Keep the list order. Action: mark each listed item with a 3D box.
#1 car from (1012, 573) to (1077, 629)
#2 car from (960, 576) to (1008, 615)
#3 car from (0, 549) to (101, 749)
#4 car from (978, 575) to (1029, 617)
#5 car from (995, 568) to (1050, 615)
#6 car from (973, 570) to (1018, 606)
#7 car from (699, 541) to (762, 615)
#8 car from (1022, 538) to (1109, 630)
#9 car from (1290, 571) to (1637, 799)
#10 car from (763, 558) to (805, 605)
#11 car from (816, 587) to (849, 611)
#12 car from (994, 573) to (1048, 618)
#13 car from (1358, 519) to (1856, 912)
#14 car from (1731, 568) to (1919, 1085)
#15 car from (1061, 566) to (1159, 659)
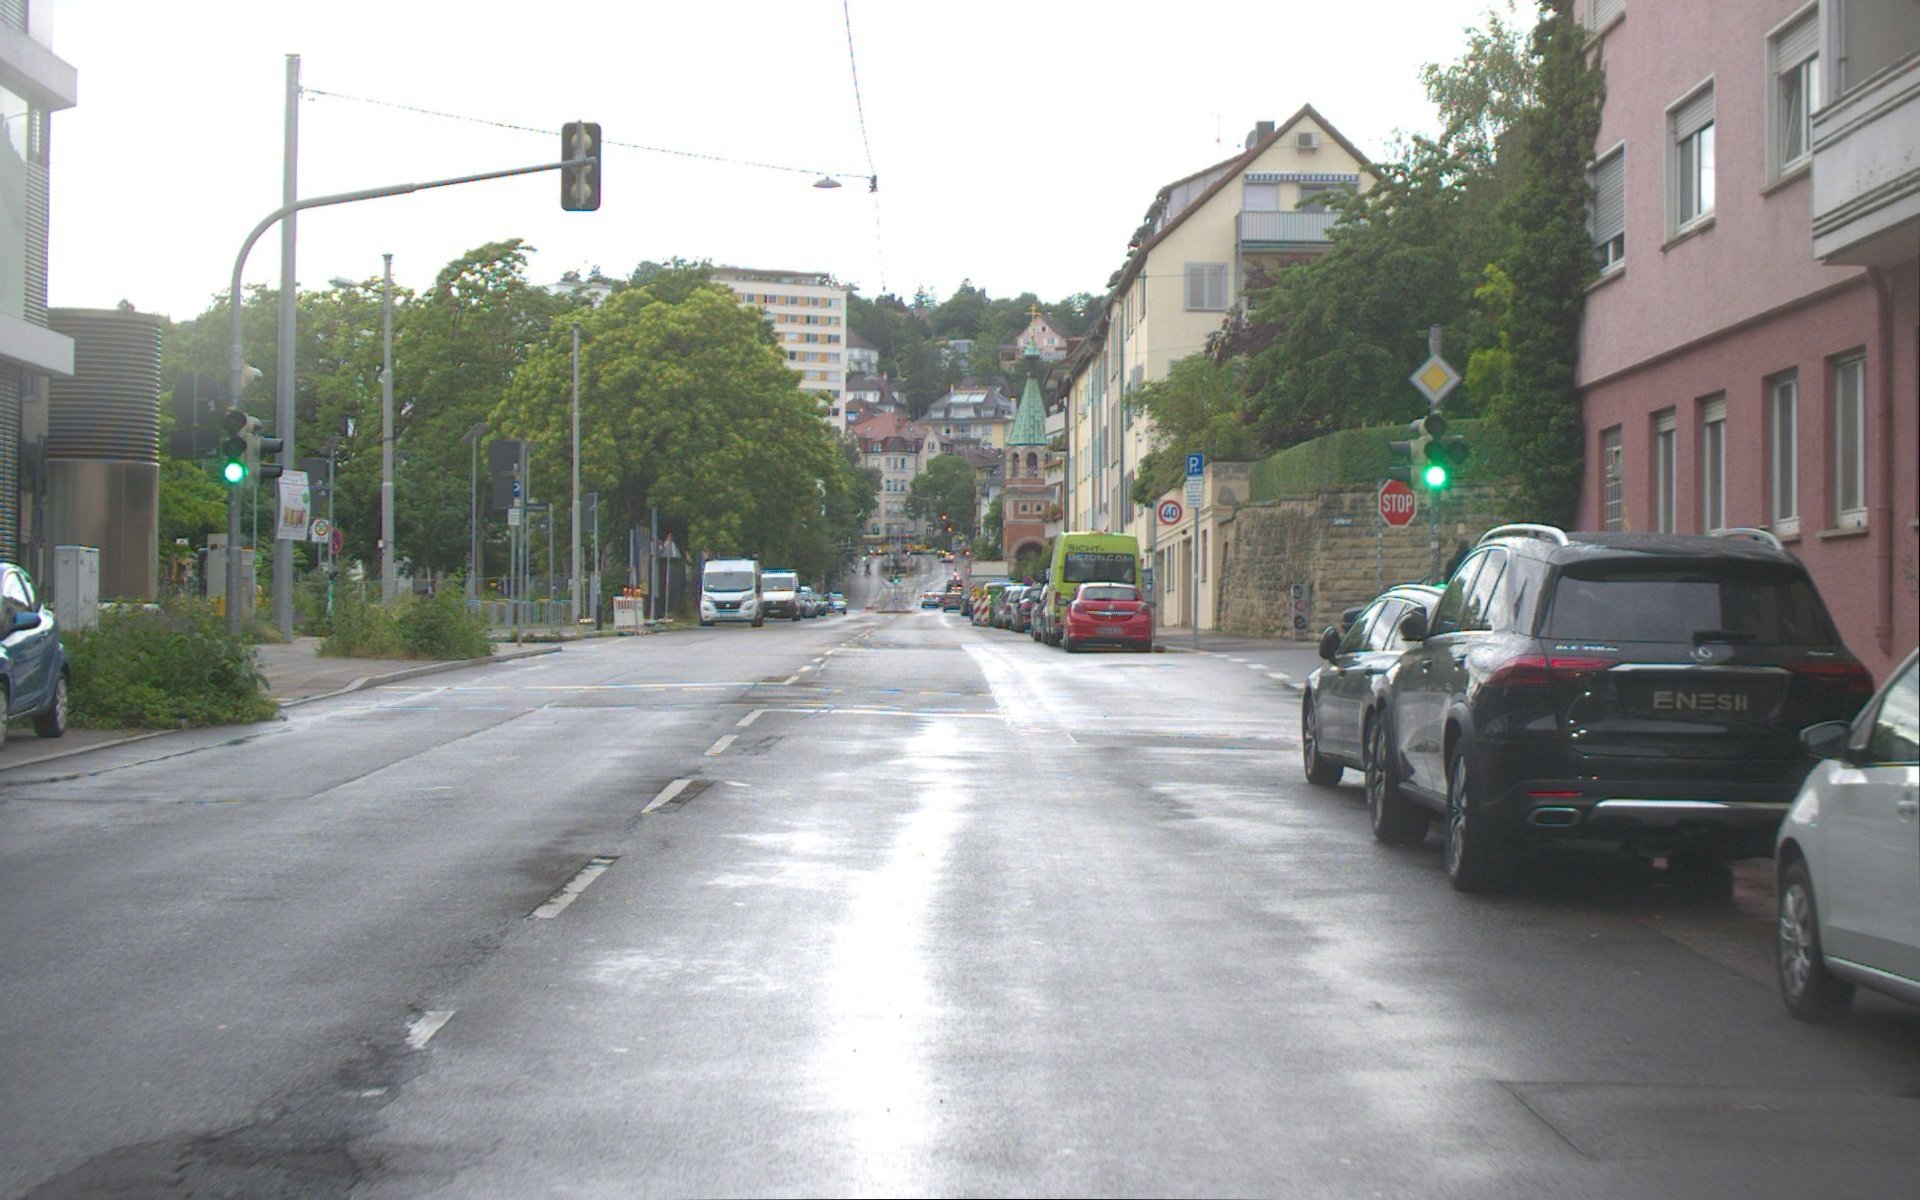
[{"bbox_3d":[2.593,0.029,104.472,1.867,1.598,4.189,2,0,2],"label":"car"},{"bbox_3d":[1.024,-0.173,147.362,1.867,1.598,4.189,2,0,2],"label":"car"},{"bbox_3d":[-8.424,0.342,28.164,1.866,1.520,4.197,2,1,-3],"label":"car"},{"bbox_3d":[1.777,-0.163,139.193,1.867,1.598,4.189,2,0,2],"label":"car"},{"bbox_3d":[2.267,-0.290,123.835,1.867,1.598,4.189,2,0,2],"label":"car"},{"bbox_3d":[1.639,-0.539,158.218,1.867,1.598,4.189,2,0,2],"label":"car"},{"bbox_3d":[-8.294,-0.783,124.731,2.105,2.538,4.751,2,0,-3],"label":"car"},{"bbox_3d":[2.425,-0.352,78.275,1.867,1.966,4.189,2,0,2],"label":"car"},{"bbox_3d":[3.349,0.517,23.522,1.781,1.405,3.763,0,1,-1],"label":"car"},{"bbox_3d":[-8.392,-0.866,163.595,1.866,2.134,4.359,2,0,-4],"label":"car"},{"bbox_3d":[-8.746,-0.070,235.918,2.035,1.583,4.359,2,0,-4],"label":"car"},{"bbox_3d":[2.303,-0.165,128.869,1.867,1.598,4.189,2,0,2],"label":"car"},{"bbox_3d":[3.165,0.494,17.620,1.655,1.732,4.180,2,1,-1],"label":"car"},{"bbox_3d":[3.739,0.711,10.945,1.635,1.566,3.711,2,0,-1],"label":"car"},{"bbox_3d":[3.006,0.251,69.132,1.867,1.764,4.189,2,0,2],"label":"car"}]
